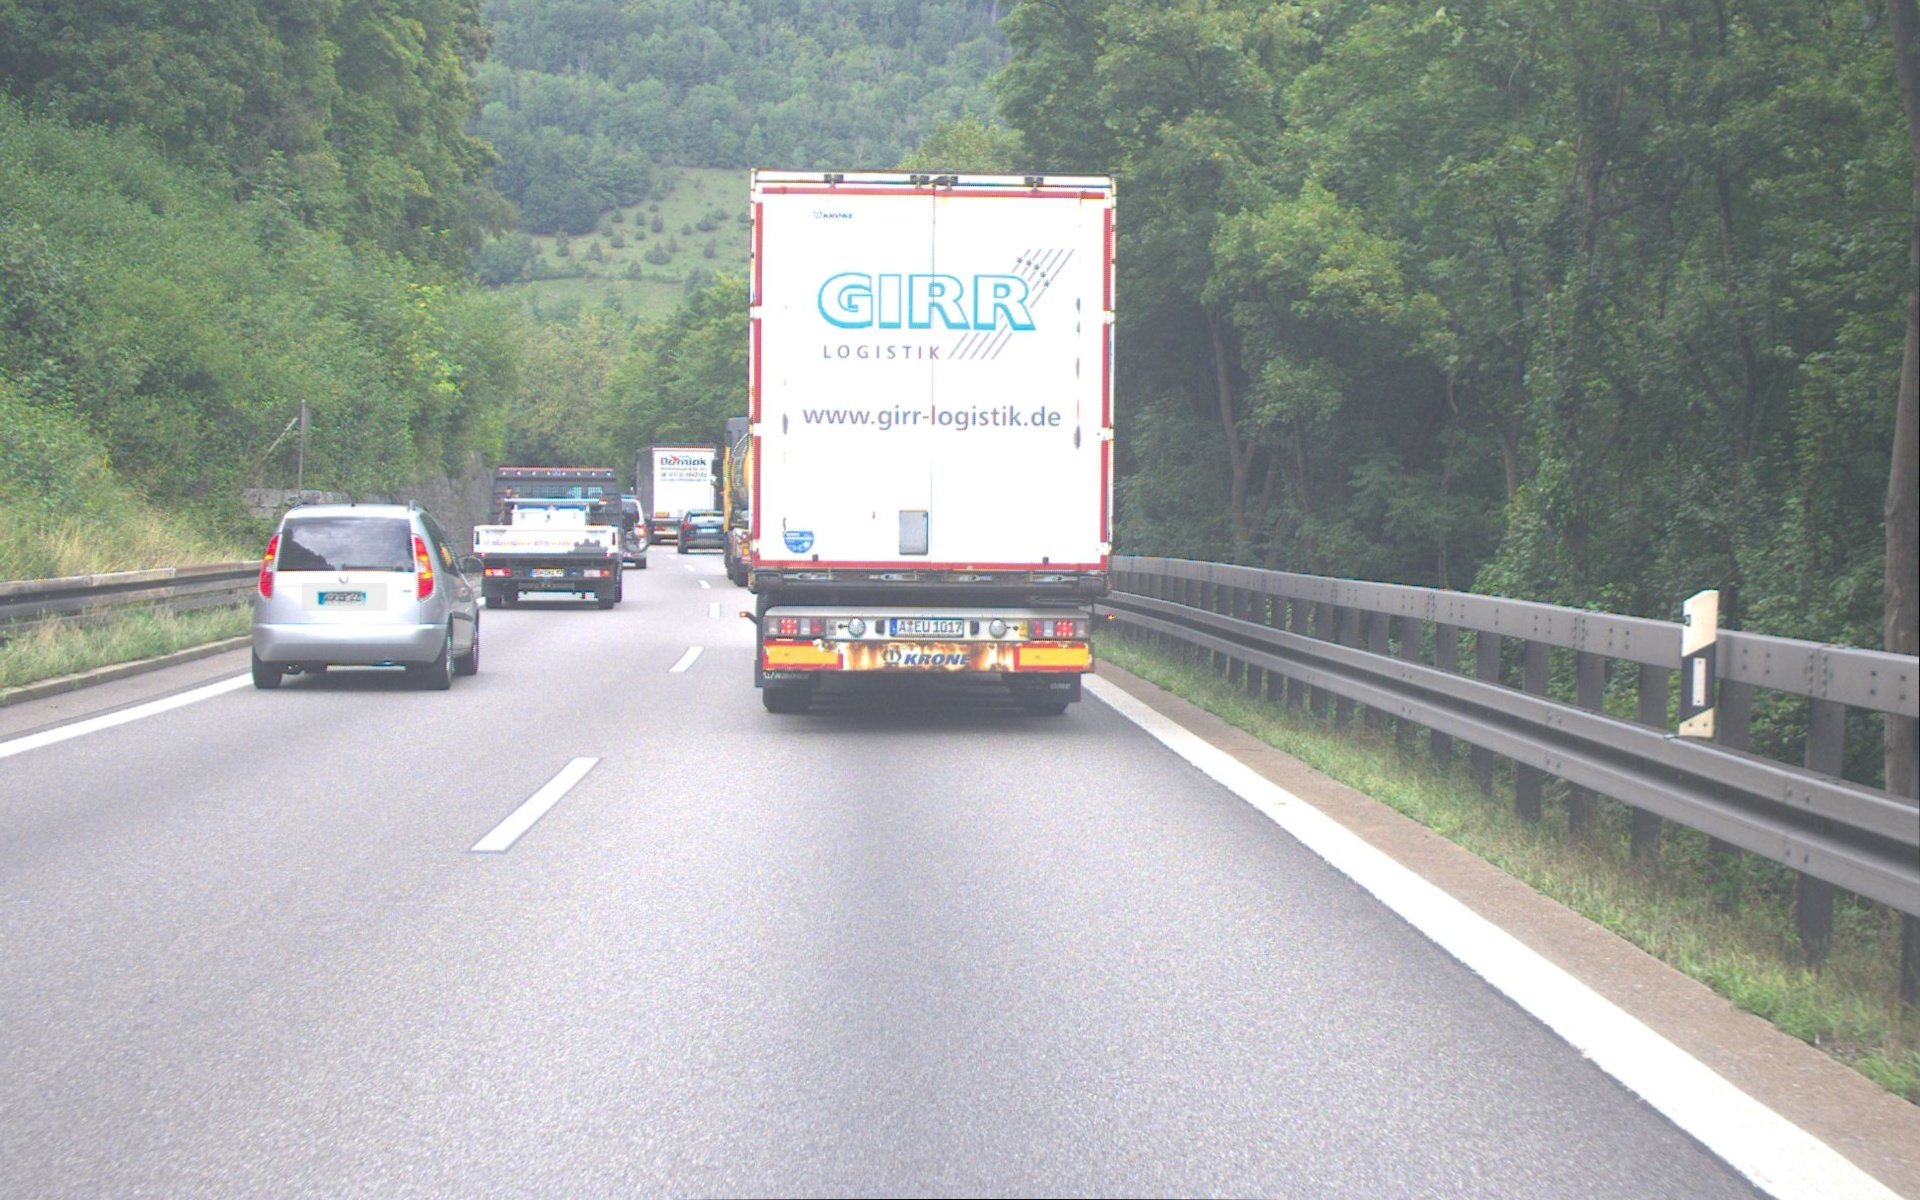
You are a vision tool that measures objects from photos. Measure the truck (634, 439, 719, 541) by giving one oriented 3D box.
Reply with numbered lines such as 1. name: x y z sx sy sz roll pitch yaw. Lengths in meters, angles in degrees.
1. truck: -11.602 -4.417 140.020 3.068 3.864 8.460 3 1 -6

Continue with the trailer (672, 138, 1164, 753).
1. trailer: -0.492 -1.185 28.444 3.133 4.029 9.441 4 1 -3

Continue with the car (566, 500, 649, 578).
1. car: -9.258 -1.636 90.224 2.018 1.907 5.565 3 1 -6

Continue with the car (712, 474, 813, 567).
1. car: -4.606 -1.841 79.689 1.993 2.007 4.334 3 1 -7

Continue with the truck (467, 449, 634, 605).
1. truck: -6.543 -1.192 55.622 2.349 2.266 6.851 3 1 -5

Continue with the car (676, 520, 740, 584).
1. car: -8.452 -1.624 115.381 1.993 2.007 4.001 3 1 -4

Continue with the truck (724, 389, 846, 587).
1. truck: -3.566 -2.262 71.261 2.233 3.791 6.824 3 1 -2

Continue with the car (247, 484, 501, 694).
1. car: -5.221 -0.139 31.120 1.634 1.720 4.345 2 1 -2
